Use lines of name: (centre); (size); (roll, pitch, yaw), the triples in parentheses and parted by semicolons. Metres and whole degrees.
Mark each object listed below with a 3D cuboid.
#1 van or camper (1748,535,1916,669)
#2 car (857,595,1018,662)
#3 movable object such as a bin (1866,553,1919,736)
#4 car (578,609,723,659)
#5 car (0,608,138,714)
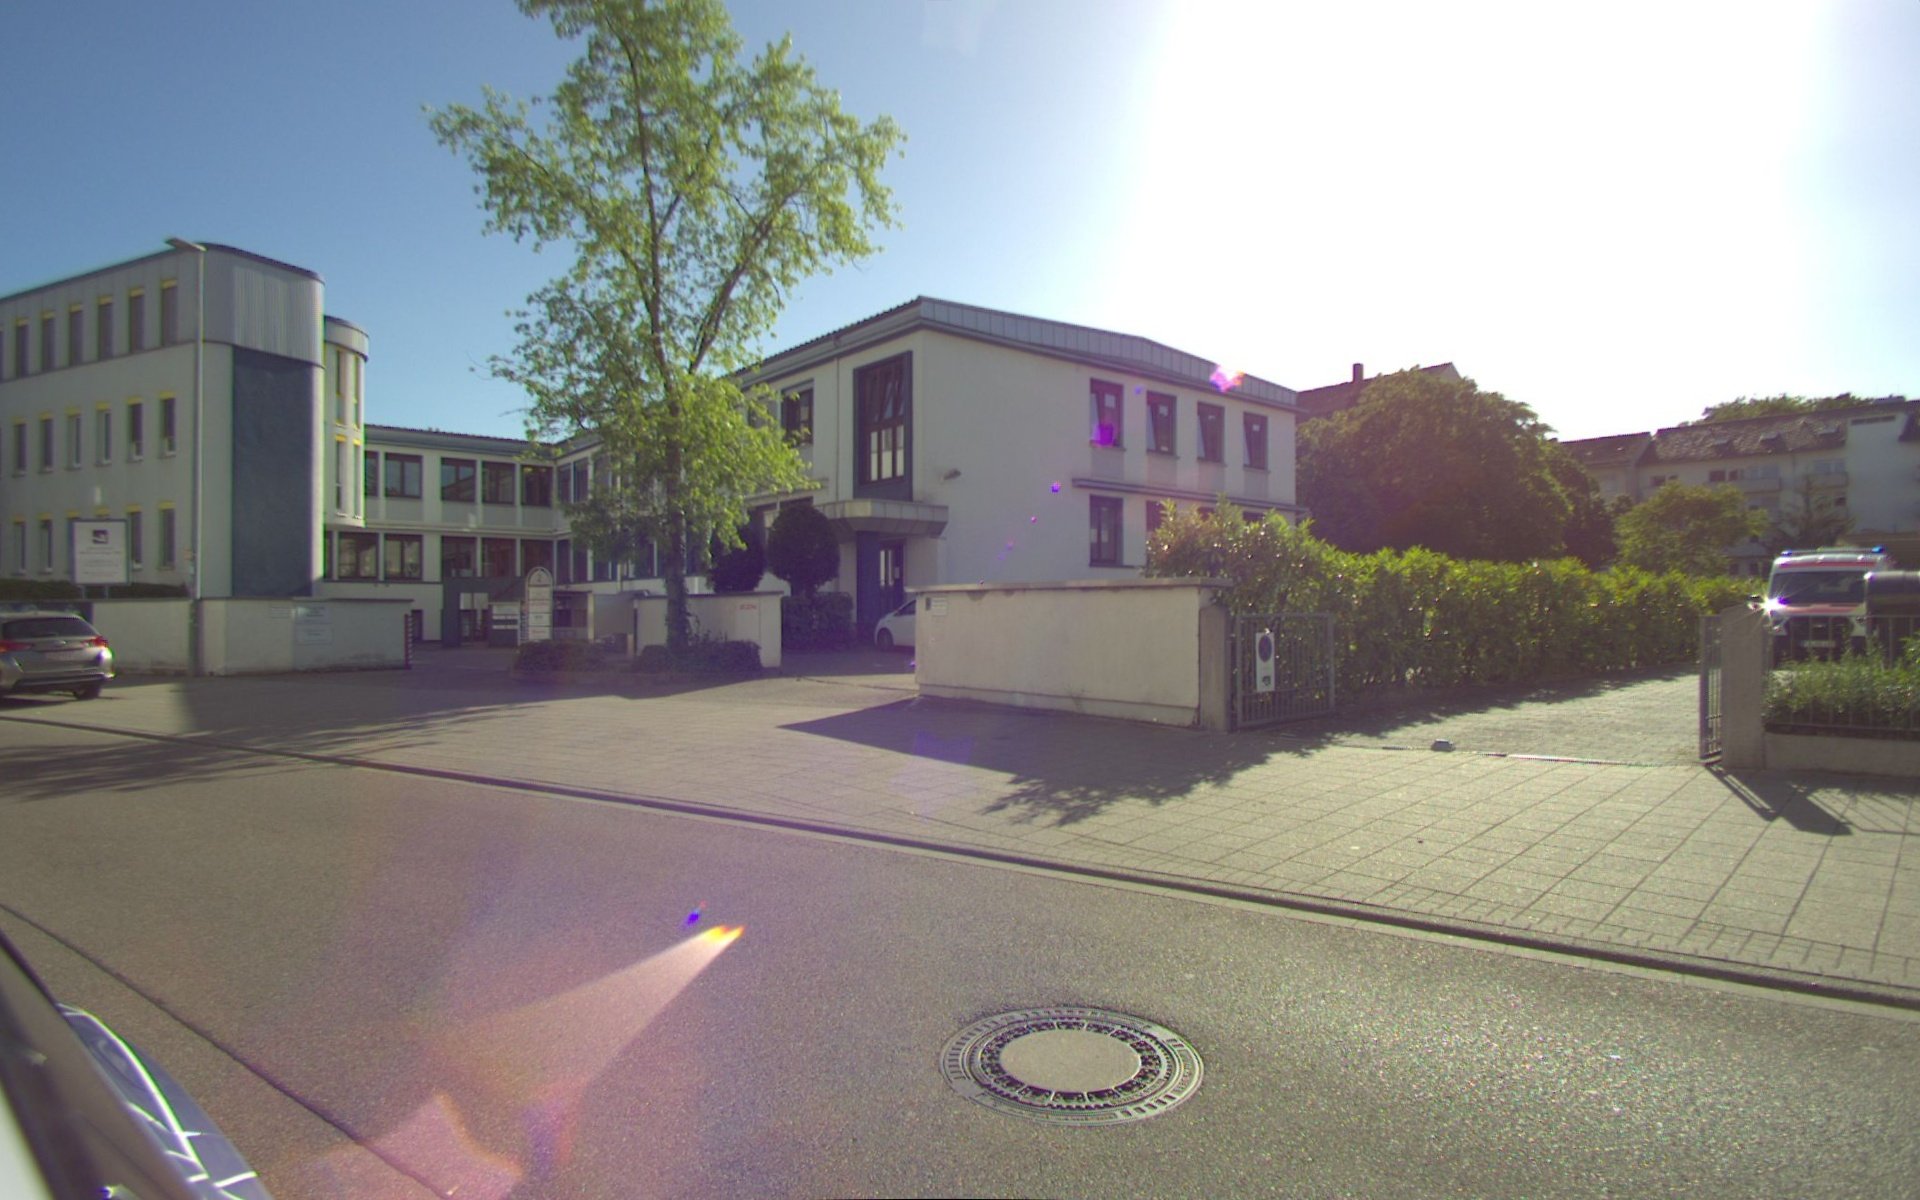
van or camper: (17.957, 0.095, 20.735); (5.157, 2.416, 2.152); (2, -1, -44)
car: (-0.610, 0.647, 24.703); (3.850, 1.431, 1.737); (2, 1, 44)
movable object such as a bin: (8.533, 0.381, 8.567); (1.227, 1.501, 1.269); (2, 0, 41)
car: (-10.333, 1.110, 34.029); (1.925, 1.552, 4.275); (-2, -1, 43)
car: (-15.970, 0.946, 16.552); (4.888, 1.546, 1.984); (-1, -1, 24)
